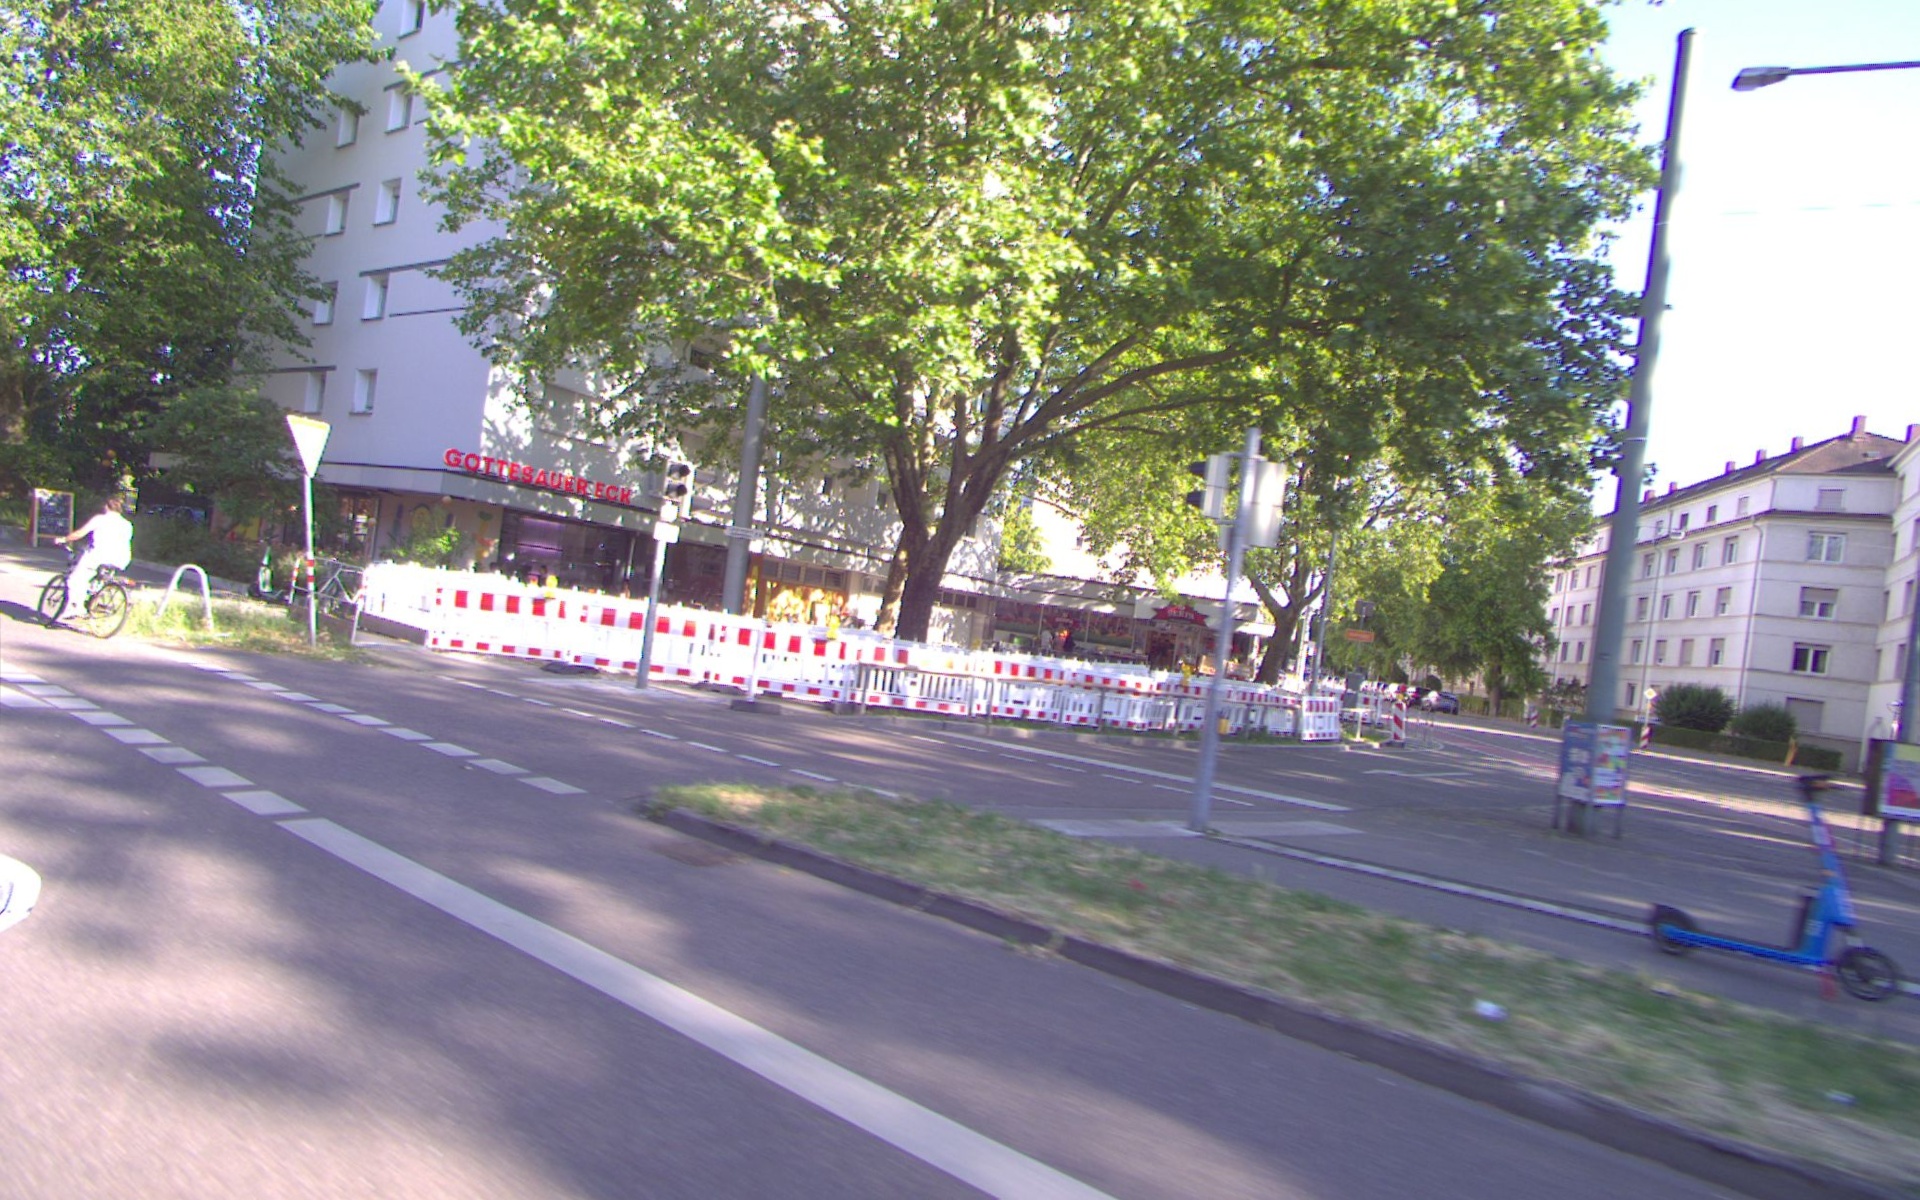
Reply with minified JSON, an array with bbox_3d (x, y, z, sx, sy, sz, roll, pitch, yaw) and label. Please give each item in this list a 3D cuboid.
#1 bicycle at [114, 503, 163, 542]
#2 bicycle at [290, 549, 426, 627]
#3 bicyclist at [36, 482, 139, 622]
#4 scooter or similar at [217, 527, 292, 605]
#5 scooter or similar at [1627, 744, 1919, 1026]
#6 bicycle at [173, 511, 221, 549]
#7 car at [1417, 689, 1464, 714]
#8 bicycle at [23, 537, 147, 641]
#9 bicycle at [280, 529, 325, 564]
[{"bbox_3d":[-30.483,-2.868,37.322,1.791,1.191,0.790,7,-2,34],"label":"bicycle"},{"bbox_3d":[-10.518,-0.203,17.610,1.917,1.039,0.605,9,1,2],"label":"bicycle"},{"bbox_3d":[-10.607,-0.581,12.229,0.846,1.569,0.604,8,0,33],"label":"bicyclist"},{"bbox_3d":[-13.010,-0.631,18.542,1.268,1.273,0.561,7,1,30],"label":"scooter or similar"},{"bbox_3d":[4.848,1.610,5.995,1.272,1.273,0.559,7,1,42],"label":"scooter or similar"},{"bbox_3d":[-29.362,-2.690,38.707,1.791,1.191,0.790,7,-2,34],"label":"bicycle"},{"bbox_3d":[34.523,7.286,72.419,1.899,1.375,4.446,8,-3,12],"label":"car"},{"bbox_3d":[-10.644,-0.144,12.215,1.738,1.038,0.604,7,0,33],"label":"bicycle"},{"bbox_3d":[-27.300,-2.210,41.762,1.791,1.191,0.790,7,-2,34],"label":"bicycle"}]
